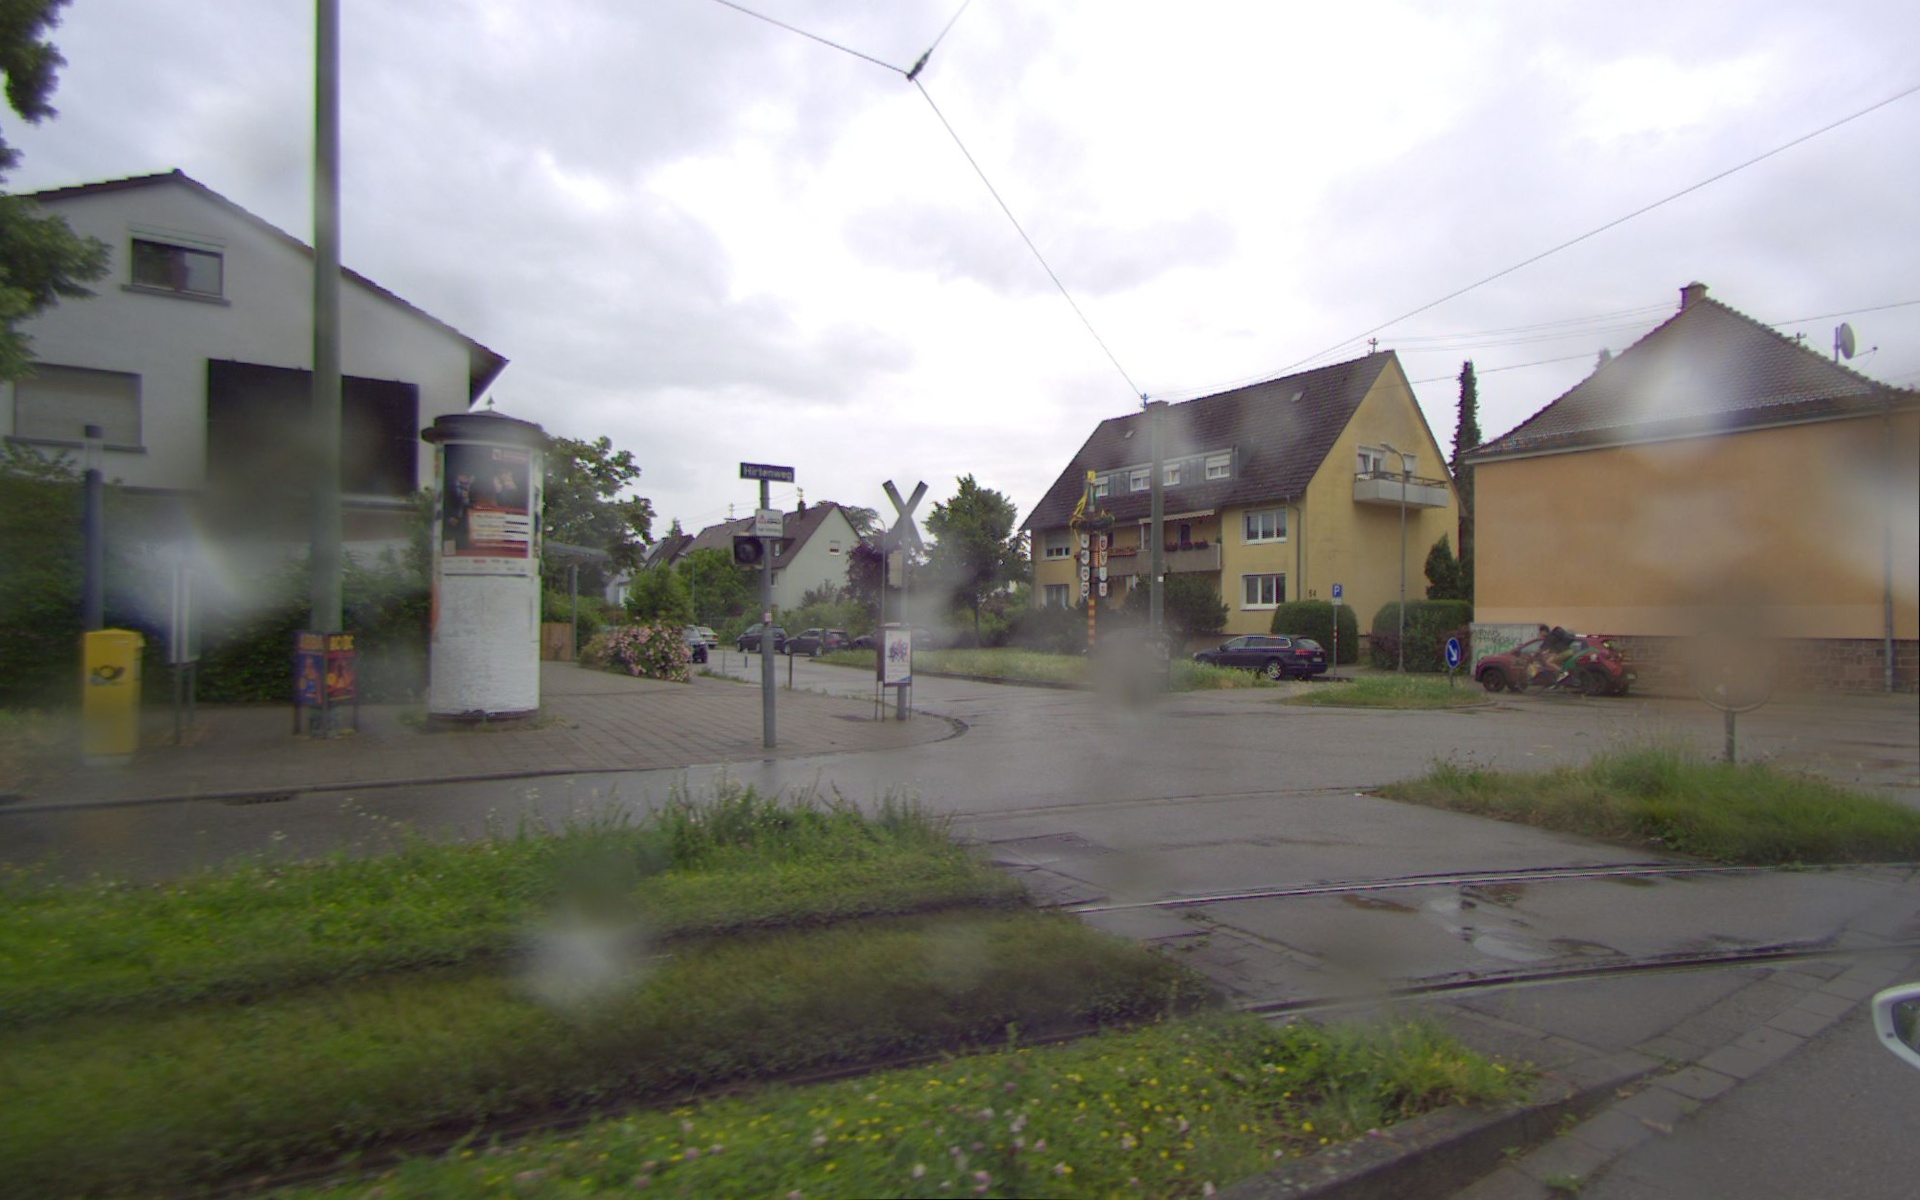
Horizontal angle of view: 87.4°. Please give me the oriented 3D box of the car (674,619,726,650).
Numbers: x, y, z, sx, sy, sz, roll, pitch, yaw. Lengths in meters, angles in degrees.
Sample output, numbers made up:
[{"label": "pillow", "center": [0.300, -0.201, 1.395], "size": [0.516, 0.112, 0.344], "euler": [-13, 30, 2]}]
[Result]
[{"label": "car", "center": [-17.049, 2.205, 65.693], "size": [1.981, 1.818, 3.959], "euler": [1, 0, -36]}]

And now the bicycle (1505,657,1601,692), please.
[{"label": "bicycle", "center": [14.449, 1.797, 24.507], "size": [0.933, 0.797, 1.801], "euler": [1, -2, -36]}]

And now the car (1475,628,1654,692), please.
[{"label": "car", "center": [15.577, 1.494, 26.010], "size": [1.707, 1.357, 3.578], "euler": [1, 0, -37]}]

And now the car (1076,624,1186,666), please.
[{"label": "car", "center": [6.373, 1.654, 37.795], "size": [1.744, 1.350, 3.957], "euler": [1, 0, -37]}]

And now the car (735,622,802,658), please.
[{"label": "car", "center": [-10.857, 2.209, 56.904], "size": [1.985, 1.818, 3.951], "euler": [1, 1, -41]}]

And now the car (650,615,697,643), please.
[{"label": "car", "center": [-20.593, 2.075, 72.079], "size": [1.981, 1.818, 3.959], "euler": [1, 0, -36]}]

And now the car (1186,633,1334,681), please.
[{"label": "car", "center": [9.833, 1.834, 33.237], "size": [1.949, 1.414, 4.459], "euler": [1, -1, -36]}]

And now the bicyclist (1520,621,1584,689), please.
[{"label": "bicyclist", "center": [14.449, 1.324, 24.526], "size": [0.940, 1.619, 1.032], "euler": [1, -2, -36]}]

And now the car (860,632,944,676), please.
[{"label": "car", "center": [-2.819, 2.535, 48.149], "size": [1.985, 1.818, 3.951], "euler": [1, 1, -41]}]

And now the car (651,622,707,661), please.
[{"label": "car", "center": [-12.280, 1.764, 43.765], "size": [1.765, 1.482, 3.976], "euler": [1, 0, -24]}]

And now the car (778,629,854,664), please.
[{"label": "car", "center": [-7.515, 2.384, 52.294], "size": [1.985, 1.595, 4.075], "euler": [1, 1, -42]}]

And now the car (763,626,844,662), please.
[{"label": "car", "center": [-6.960, 1.910, 44.332], "size": [1.981, 1.495, 3.960], "euler": [1, -2, -36]}]

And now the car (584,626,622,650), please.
[{"label": "car", "center": [-30.252, 3.190, 85.081], "size": [1.981, 1.818, 3.959], "euler": [1, 0, -36]}]
